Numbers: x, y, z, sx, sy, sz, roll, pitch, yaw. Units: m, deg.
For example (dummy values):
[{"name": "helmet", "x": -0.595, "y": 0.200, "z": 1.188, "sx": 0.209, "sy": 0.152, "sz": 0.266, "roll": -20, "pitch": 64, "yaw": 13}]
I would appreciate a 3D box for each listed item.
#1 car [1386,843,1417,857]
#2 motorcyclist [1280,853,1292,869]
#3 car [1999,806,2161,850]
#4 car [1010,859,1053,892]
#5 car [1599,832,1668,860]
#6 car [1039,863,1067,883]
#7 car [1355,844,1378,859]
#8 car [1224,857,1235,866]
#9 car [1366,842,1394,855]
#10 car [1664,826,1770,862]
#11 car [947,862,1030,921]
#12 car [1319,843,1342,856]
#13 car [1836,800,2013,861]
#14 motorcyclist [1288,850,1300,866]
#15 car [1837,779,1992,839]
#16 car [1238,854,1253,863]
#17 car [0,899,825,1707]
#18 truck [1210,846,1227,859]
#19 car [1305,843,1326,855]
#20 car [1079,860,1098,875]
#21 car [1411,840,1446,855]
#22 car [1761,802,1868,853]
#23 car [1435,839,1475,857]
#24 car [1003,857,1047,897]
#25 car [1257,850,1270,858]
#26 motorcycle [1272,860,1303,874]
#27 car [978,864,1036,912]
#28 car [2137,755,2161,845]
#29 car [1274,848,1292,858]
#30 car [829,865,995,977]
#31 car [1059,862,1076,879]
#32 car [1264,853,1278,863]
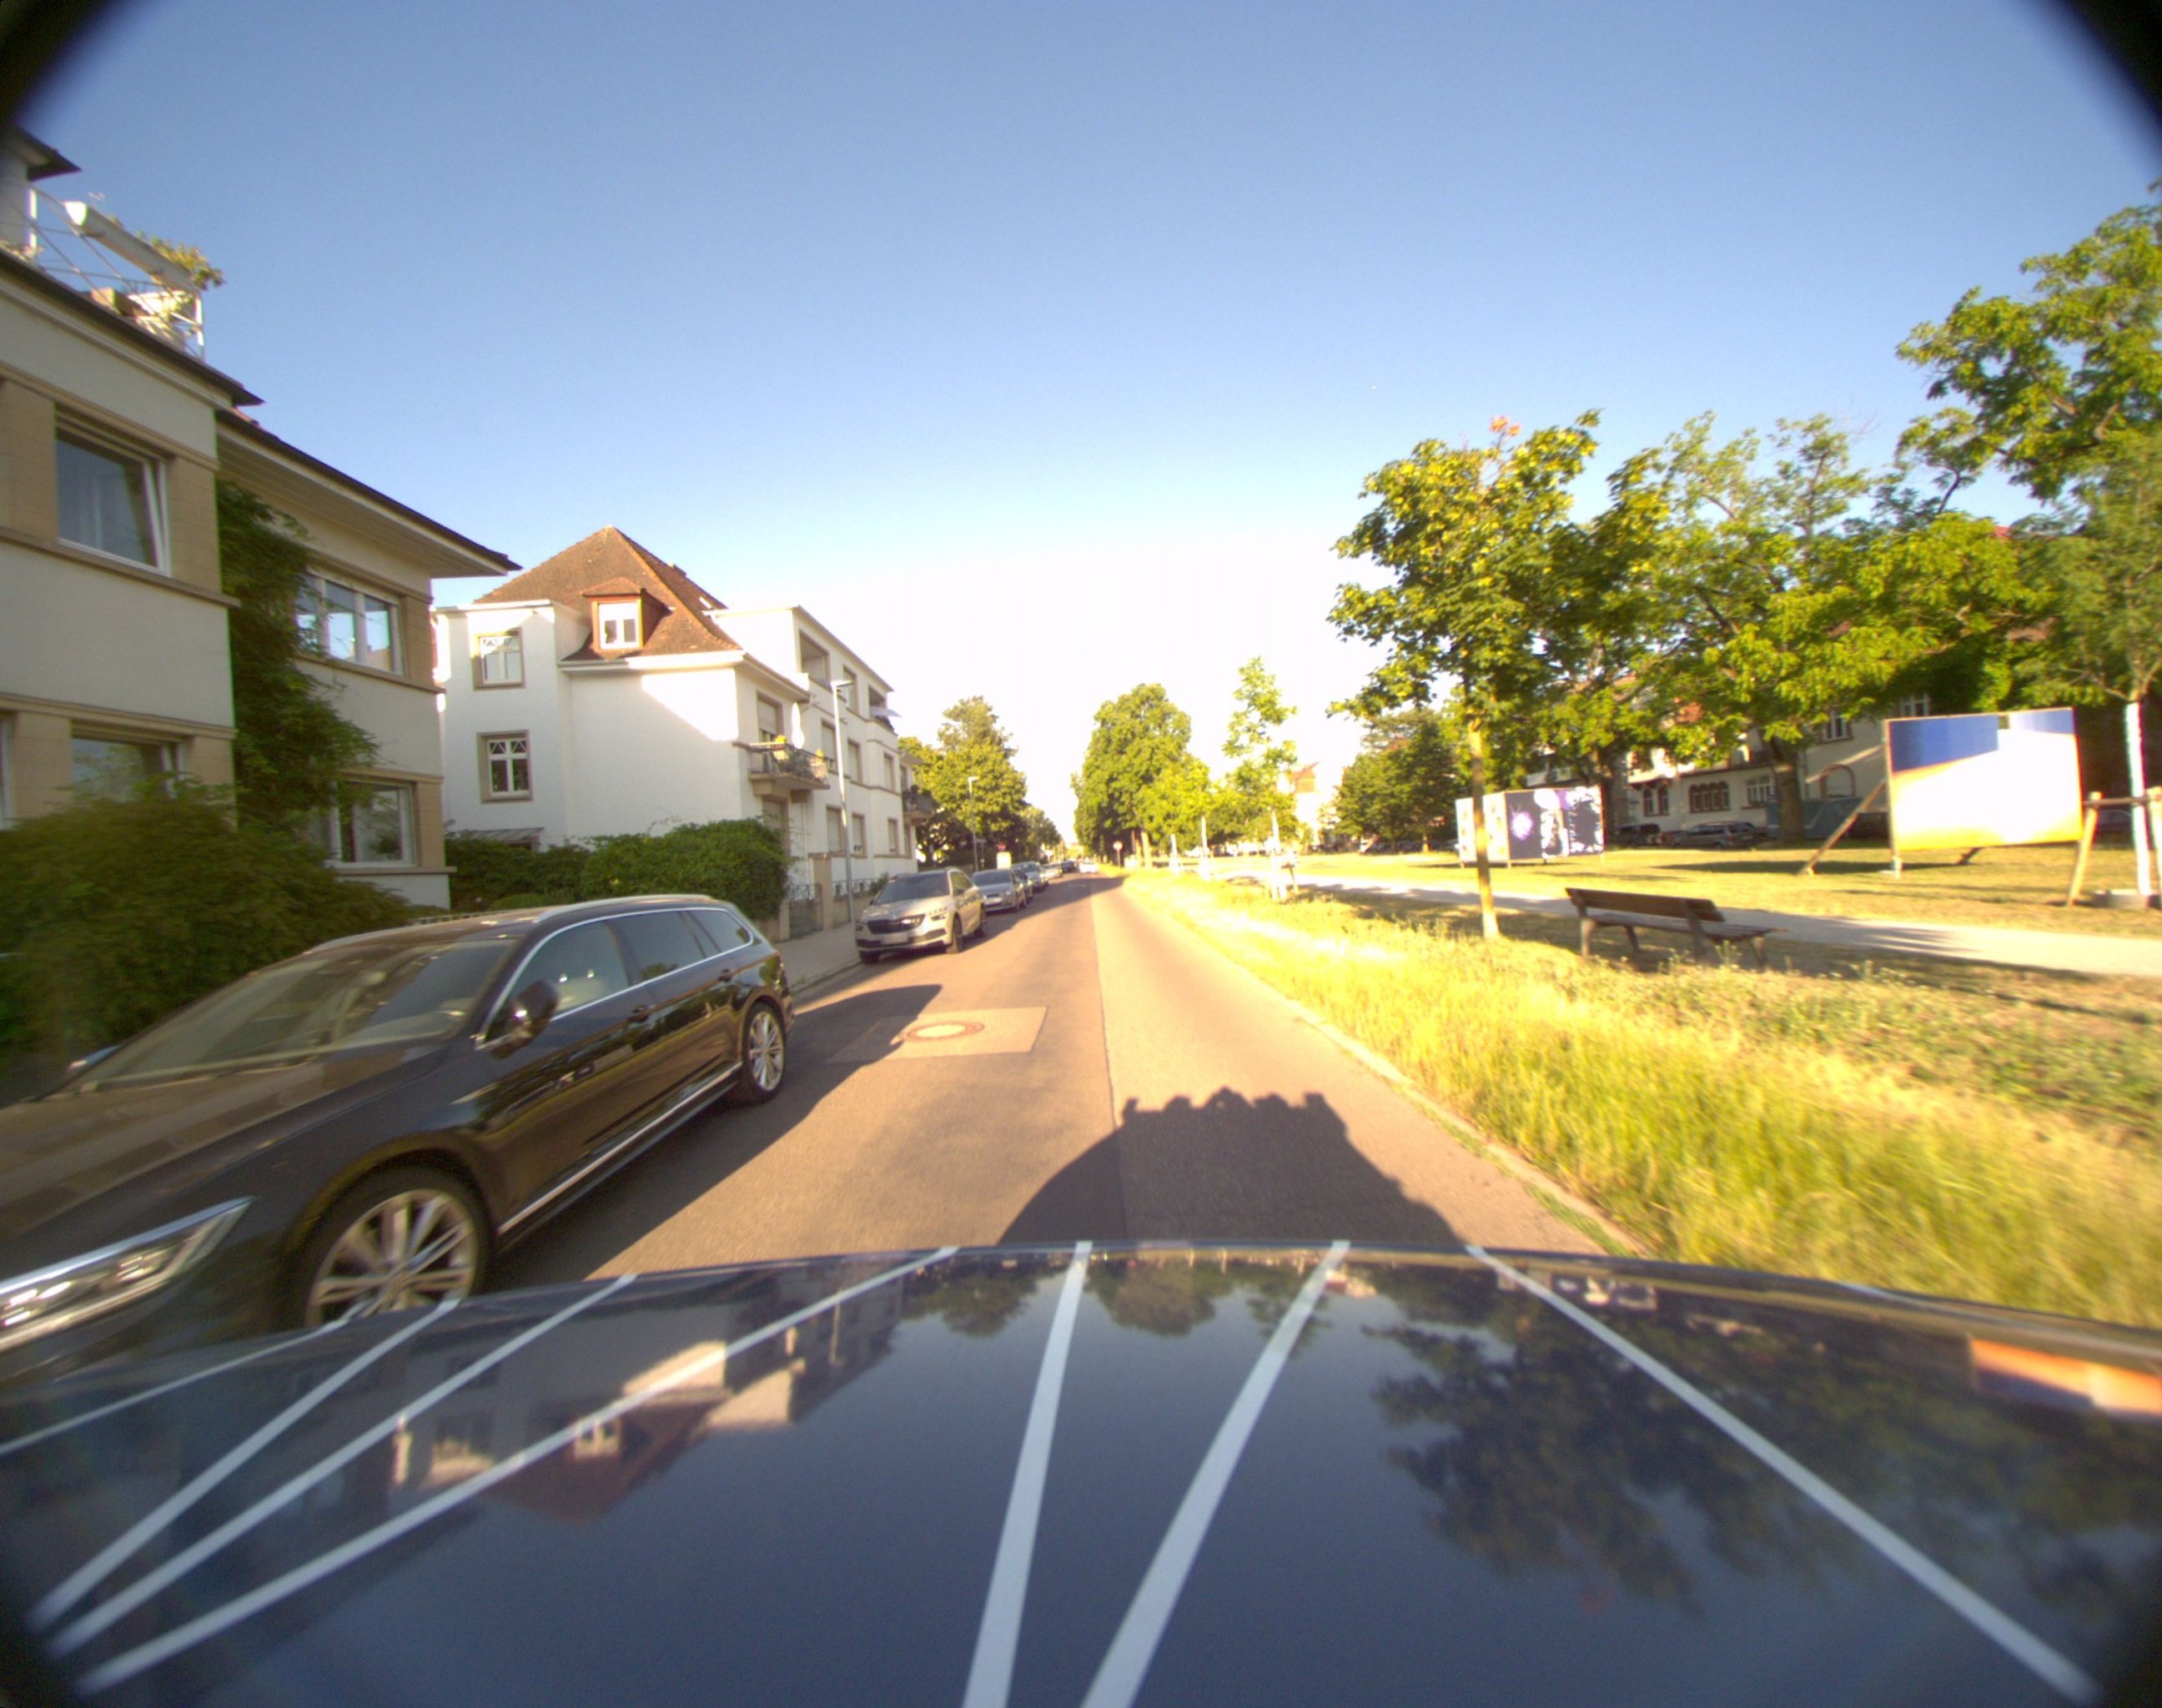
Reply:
[{"name": "car", "x": 34.441, "y": -0.419, "z": 81.736, "sx": 1.560, "sy": 1.407, "sz": 3.642, "roll": -3, "pitch": -1, "yaw": -4}, {"name": "motorcyclist", "x": 15.610, "y": 0.520, "z": 57.853, "sx": 0.575, "sy": 1.143, "sz": 0.750, "roll": -3, "pitch": 0, "yaw": -5}, {"name": "car", "x": 34.099, "y": -0.846, "z": 25.451, "sx": 1.857, "sy": 1.308, "sz": 4.043, "roll": -4, "pitch": 0, "yaw": 3}, {"name": "car", "x": -2.858, "y": 1.225, "z": 45.074, "sx": 1.880, "sy": 1.525, "sz": 4.589, "roll": -8, "pitch": 0, "yaw": 2}, {"name": "car", "x": 40.245, "y": -0.564, "z": 55.448, "sx": 1.624, "sy": 1.813, "sz": 4.288, "roll": -3, "pitch": -1, "yaw": -4}, {"name": "car", "x": -2.501, "y": 1.686, "z": 68.260, "sx": 2.111, "sy": 1.396, "sz": 4.133, "roll": -8, "pitch": -1, "yaw": 1}, {"name": "car", "x": 41.413, "y": -0.396, "z": 110.347, "sx": 1.998, "sy": 2.002, "sz": 4.001, "roll": -3, "pitch": 0, "yaw": 3}, {"name": "car", "x": 36.045, "y": 1.855, "z": 184.642, "sx": 1.998, "sy": 2.001, "sz": 4.001, "roll": -3, "pitch": -1, "yaw": 3}, {"name": "car", "x": 34.269, "y": -0.602, "z": 87.107, "sx": 1.560, "sy": 1.323, "sz": 3.642, "roll": -3, "pitch": -1, "yaw": -4}, {"name": "car", "x": 34.260, "y": -0.511, "z": 41.084, "sx": 1.999, "sy": 1.718, "sz": 4.345, "roll": -3, "pitch": -1, "yaw": 0}, {"name": "car", "x": -2.927, "y": 1.181, "z": 25.067, "sx": 1.916, "sy": 1.550, "sz": 4.567, "roll": -7, "pitch": -1, "yaw": 1}, {"name": "car", "x": 34.909, "y": -0.676, "z": 106.270, "sx": 1.998, "sy": 1.833, "sz": 4.000, "roll": 0, "pitch": 1, "yaw": 2}, {"name": "car", "x": 34.190, "y": -0.858, "z": 31.038, "sx": 1.999, "sy": 2.161, "sz": 4.571, "roll": -3, "pitch": -1, "yaw": -2}, {"name": "motorcyclist", "x": 16.255, "y": 0.325, "z": 57.947, "sx": 0.575, "sy": 1.143, "sz": 0.750, "roll": -3, "pitch": 0, "yaw": -5}, {"name": "car", "x": 40.141, "y": -2.084, "z": 36.828, "sx": 1.950, "sy": 2.624, "sz": 5.044, "roll": 0, "pitch": 1, "yaw": 1}, {"name": "car", "x": 35.585, "y": 0.995, "z": 164.453, "sx": 2.125, "sy": 2.002, "sz": 3.999, "roll": 0, "pitch": 1, "yaw": -1}, {"name": "car", "x": -3.145, "y": 1.300, "z": 3.689, "sx": 1.999, "sy": 1.588, "sz": 4.885, "roll": -7, "pitch": 1, "yaw": 0}, {"name": "truck", "x": 36.212, "y": -0.303, "z": 200.323, "sx": 2.785, "sy": 3.127, "sz": 7.710, "roll": -3, "pitch": 0, "yaw": -1}, {"name": "car", "x": 34.914, "y": -0.758, "z": 113.045, "sx": 1.998, "sy": 1.833, "sz": 4.000, "roll": 0, "pitch": 1, "yaw": 2}, {"name": "car", "x": 0.834, "y": 1.521, "z": 86.222, "sx": 1.998, "sy": 1.483, "sz": 4.000, "roll": -3, "pitch": 0, "yaw": 1}, {"name": "car", "x": 34.468, "y": -0.630, "z": 75.375, "sx": 1.560, "sy": 1.360, "sz": 3.642, "roll": -3, "pitch": -1, "yaw": -4}, {"name": "car", "x": 40.126, "y": -1.434, "z": 41.703, "sx": 1.998, "sy": 2.527, "sz": 3.999, "roll": -3, "pitch": 1, "yaw": 1}, {"name": "car", "x": 34.370, "y": -0.535, "z": 69.942, "sx": 1.692, "sy": 1.399, "sz": 3.642, "roll": -3, "pitch": -1, "yaw": -4}, {"name": "car", "x": -2.813, "y": 1.134, "z": 39.231, "sx": 1.806, "sy": 1.639, "sz": 4.583, "roll": -8, "pitch": 1, "yaw": -1}, {"name": "car", "x": 40.926, "y": -0.019, "z": 170.474, "sx": 1.999, "sy": 1.834, "sz": 3.998, "roll": 0, "pitch": 1, "yaw": -2}, {"name": "motorcycle", "x": 15.725, "y": 0.978, "z": 57.824, "sx": 2.110, "sy": 0.951, "sz": 0.566, "roll": -4, "pitch": 0, "yaw": -4}, {"name": "car", "x": -2.867, "y": 1.278, "z": 30.349, "sx": 1.767, "sy": 1.427, "sz": 4.302, "roll": -9, "pitch": 1, "yaw": -1}, {"name": "car", "x": 39.880, "y": -2.046, "z": 24.881, "sx": 1.998, "sy": 3.230, "sz": 6.076, "roll": -3, "pitch": -1, "yaw": 0}, {"name": "car", "x": 35.436, "y": -0.178, "z": 133.453, "sx": 1.998, "sy": 1.692, "sz": 4.001, "roll": -3, "pitch": -1, "yaw": 1}, {"name": "car", "x": -3.029, "y": 1.137, "z": 14.704, "sx": 1.888, "sy": 1.528, "sz": 4.462, "roll": -6, "pitch": 1, "yaw": 2}, {"name": "car", "x": -1.835, "y": 2.298, "z": 105.629, "sx": 1.998, "sy": 2.179, "sz": 4.001, "roll": -3, "pitch": -1, "yaw": 1}, {"name": "car", "x": 40.644, "y": 0.850, "z": 162.608, "sx": 1.999, "sy": 1.871, "sz": 3.998, "roll": 0, "pitch": 1, "yaw": -2}]
